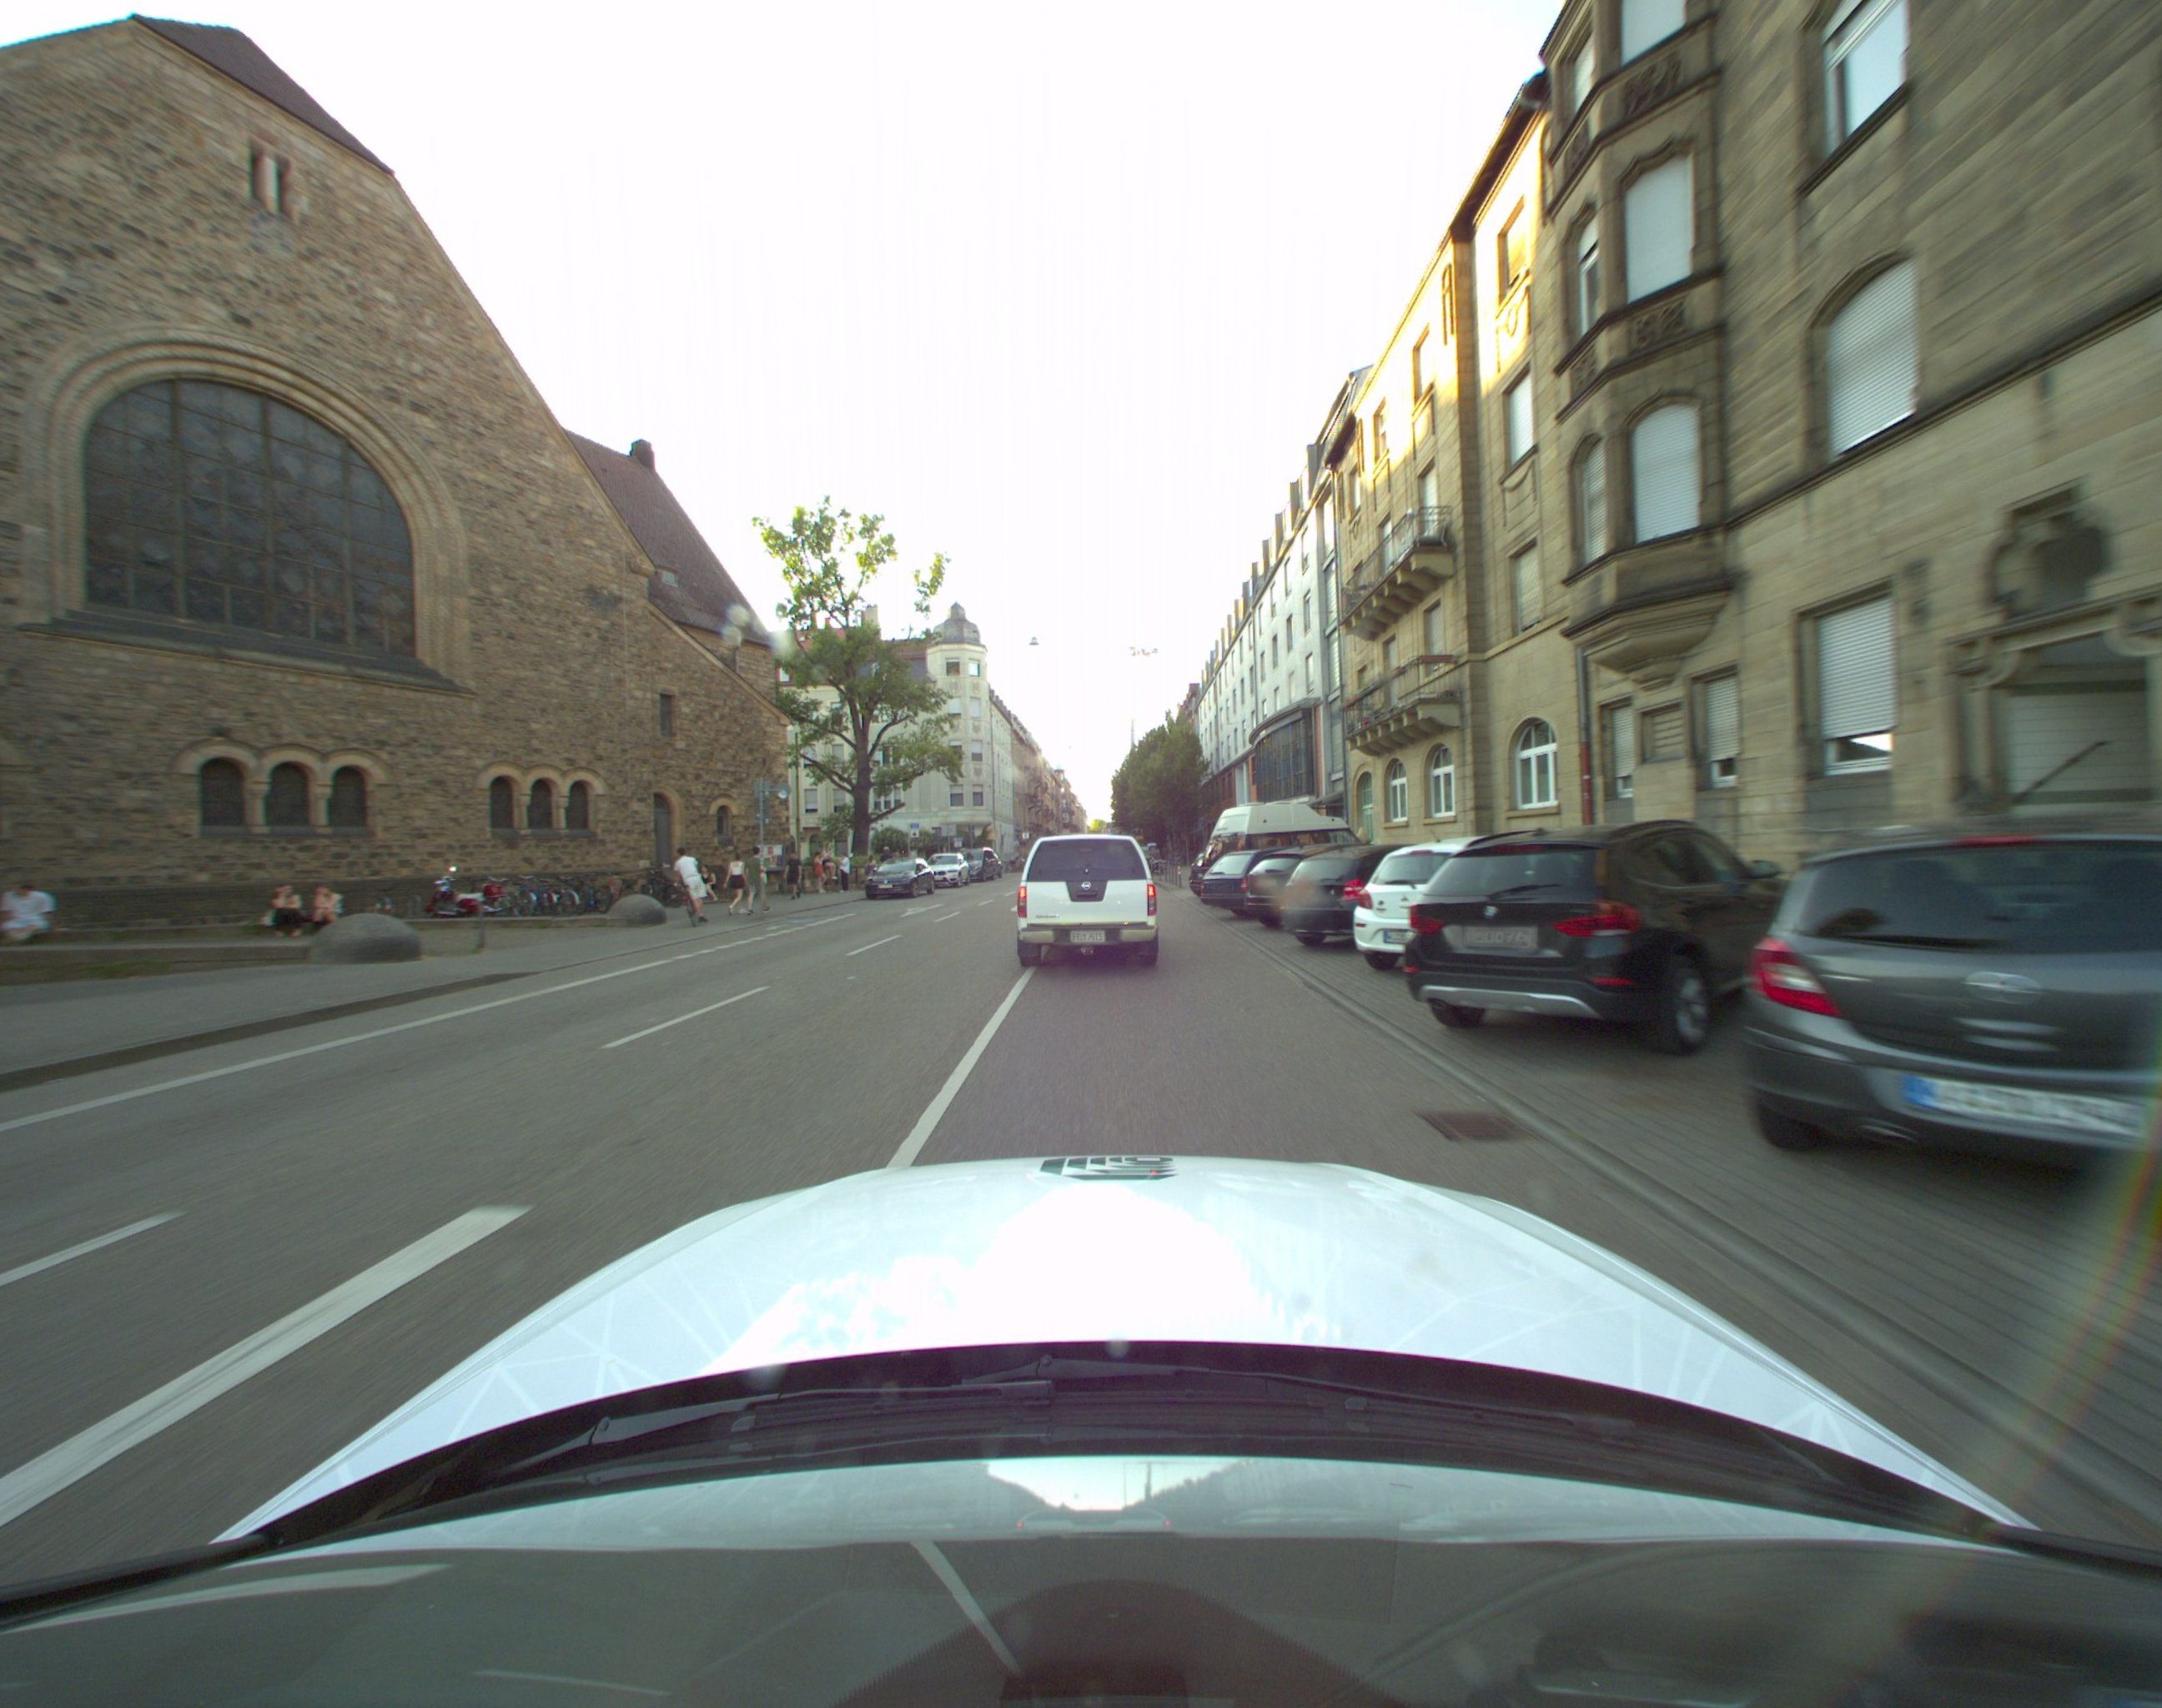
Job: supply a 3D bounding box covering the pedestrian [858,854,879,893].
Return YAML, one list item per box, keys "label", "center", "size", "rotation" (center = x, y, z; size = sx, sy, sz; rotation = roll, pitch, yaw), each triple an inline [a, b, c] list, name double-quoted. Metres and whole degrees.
- label: "pedestrian"
  center: [-8.503, 0.771, 32.575]
  size: [0.580, 1.552, 0.839]
  rotation: [-1, 0, -1]

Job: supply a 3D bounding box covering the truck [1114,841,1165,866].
- label: "truck"
  center: [7.457, -0.054, 104.127]
  size: [6.293, 2.977, 2.266]
  rotation: [-1, -3, 3]

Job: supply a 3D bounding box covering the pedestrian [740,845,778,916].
- label: "pedestrian"
  center: [-8.753, 0.697, 22.181]
  size: [0.645, 1.879, 0.891]
  rotation: [-2, 0, -1]

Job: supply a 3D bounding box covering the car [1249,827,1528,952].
- label: "car"
  center: [4.744, 0.461, 12.440]
  size: [4.050, 1.431, 1.849]
  rotation: [-5, 0, -32]

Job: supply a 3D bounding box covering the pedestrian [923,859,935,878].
- label: "pedestrian"
  center: [-11.836, 1.114, 63.555]
  size: [0.699, 1.469, 0.784]
  rotation: [-2, 0, 1]

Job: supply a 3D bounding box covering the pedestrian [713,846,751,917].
- label: "pedestrian"
  center: [-9.431, 0.726, 22.032]
  size: [0.571, 1.856, 0.988]
  rotation: [-2, 0, -1]

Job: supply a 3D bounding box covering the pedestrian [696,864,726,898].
- label: "pedestrian"
  center: [-12.092, 0.885, 26.611]
  size: [0.512, 1.056, 0.703]
  rotation: [-2, 0, 19]

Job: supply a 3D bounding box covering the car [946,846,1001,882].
- label: "car"
  center: [-5.992, 0.522, 46.026]
  size: [1.985, 1.866, 5.295]
  rotation: [-2, 0, 4]

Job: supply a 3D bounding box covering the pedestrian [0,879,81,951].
- label: "pedestrian"
  center: [-17.021, 0.968, 13.218]
  size: [0.688, 1.094, 1.318]
  rotation: [-2, 0, -38]

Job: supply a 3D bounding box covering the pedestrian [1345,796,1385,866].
- label: "pedestrian"
  center: [8.624, -0.689, 24.752]
  size: [0.605, 2.012, 0.859]
  rotation: [10, 2, 4]

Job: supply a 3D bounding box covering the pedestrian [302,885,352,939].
- label: "pedestrian"
  center: [-14.829, 1.121, 16.032]
  size: [0.563, 0.991, 0.689]
  rotation: [-2, 0, -31]

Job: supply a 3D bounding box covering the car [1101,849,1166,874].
- label: "car"
  center: [3.555, 0.521, 54.634]
  size: [4.009, 1.506, 1.754]
  rotation: [-2, 0, -27]

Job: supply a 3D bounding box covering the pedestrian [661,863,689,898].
- label: "pedestrian"
  center: [-12.830, 0.826, 25.737]
  size: [0.741, 1.048, 0.515]
  rotation: [-2, 0, -28]

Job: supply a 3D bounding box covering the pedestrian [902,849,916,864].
- label: "pedestrian"
  center: [-11.569, 0.167, 54.684]
  size: [0.704, 0.980, 0.837]
  rotation: [-2, 0, 0]

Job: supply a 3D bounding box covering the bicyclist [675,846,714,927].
- label: "bicyclist"
  center: [-9.263, 0.750, 19.490]
  size: [0.710, 1.880, 0.932]
  rotation: [0, 0, -33]

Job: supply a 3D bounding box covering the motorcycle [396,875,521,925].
- label: "motorcycle"
  center: [-14.636, 1.066, 19.174]
  size: [2.403, 1.126, 0.823]
  rotation: [0, 0, 5]

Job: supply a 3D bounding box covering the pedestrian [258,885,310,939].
- label: "pedestrian"
  center: [-15.316, 1.098, 15.663]
  size: [0.563, 0.967, 0.643]
  rotation: [-2, 0, -31]

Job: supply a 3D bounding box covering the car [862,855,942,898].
- label: "car"
  center: [-6.675, 0.795, 30.899]
  size: [1.775, 1.435, 4.320]
  rotation: [-2, 0, 4]

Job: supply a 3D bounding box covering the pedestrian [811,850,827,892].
- label: "pedestrian"
  center: [-10.622, 0.691, 33.034]
  size: [0.417, 1.674, 0.542]
  rotation: [-1, 0, -38]

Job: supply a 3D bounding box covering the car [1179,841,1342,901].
- label: "car"
  center: [5.202, 0.455, 23.552]
  size: [4.365, 1.502, 1.897]
  rotation: [-2, 0, -26]

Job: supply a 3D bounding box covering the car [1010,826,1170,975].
- label: "car"
  center: [0.174, 0.568, 12.142]
  size: [1.926, 1.794, 4.623]
  rotation: [0, 0, 2]

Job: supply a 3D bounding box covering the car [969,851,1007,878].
- label: "car"
  center: [-5.798, 0.628, 51.156]
  size: [1.633, 1.555, 4.009]
  rotation: [-2, 0, 4]

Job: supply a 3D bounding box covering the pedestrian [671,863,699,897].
- label: "pedestrian"
  center: [-12.864, 0.839, 26.465]
  size: [0.493, 1.048, 0.611]
  rotation: [-2, 0, 22]

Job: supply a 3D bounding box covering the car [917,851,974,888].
- label: "car"
  center: [-6.411, 0.699, 38.909]
  size: [1.865, 1.592, 4.469]
  rotation: [-2, 0, 1]

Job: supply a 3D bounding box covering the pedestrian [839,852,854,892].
- label: "pedestrian"
  center: [-9.638, 0.718, 33.460]
  size: [0.417, 1.622, 0.542]
  rotation: [-1, 0, -38]

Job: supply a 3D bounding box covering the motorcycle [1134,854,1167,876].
- label: "motorcycle"
  center: [3.841, 0.604, 44.990]
  size: [1.643, 1.101, 0.646]
  rotation: [-4, 0, -7]

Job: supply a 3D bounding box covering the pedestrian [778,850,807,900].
- label: "pedestrian"
  center: [-10.095, 0.727, 28.507]
  size: [0.711, 1.725, 0.692]
  rotation: [-2, 0, 3]

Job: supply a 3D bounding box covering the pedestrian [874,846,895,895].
- label: "pedestrian"
  center: [-7.890, 0.649, 32.672]
  size: [0.580, 1.905, 0.803]
  rotation: [-2, 0, -1]

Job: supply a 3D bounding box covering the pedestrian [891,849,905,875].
- label: "pedestrian"
  center: [-12.289, 0.556, 54.676]
  size: [0.704, 1.721, 0.837]
  rotation: [-2, 0, 0]

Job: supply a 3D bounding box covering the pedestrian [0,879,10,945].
- label: "pedestrian"
  center: [-17.634, 0.941, 12.866]
  size: [0.650, 1.075, 0.821]
  rotation: [-2, 0, -38]

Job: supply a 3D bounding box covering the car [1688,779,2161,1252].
- label: "car"
  center: [4.801, 0.452, 4.185]
  size: [3.937, 1.544, 1.697]
  rotation: [-4, -1, -39]

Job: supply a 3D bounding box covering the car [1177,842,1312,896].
- label: "car"
  center: [5.227, 0.449, 25.934]
  size: [4.081, 1.492, 1.708]
  rotation: [-2, 0, -29]

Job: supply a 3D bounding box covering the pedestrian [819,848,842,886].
- label: "pedestrian"
  center: [-10.405, 0.526, 33.820]
  size: [0.644, 1.545, 0.589]
  rotation: [-2, 0, 25]
